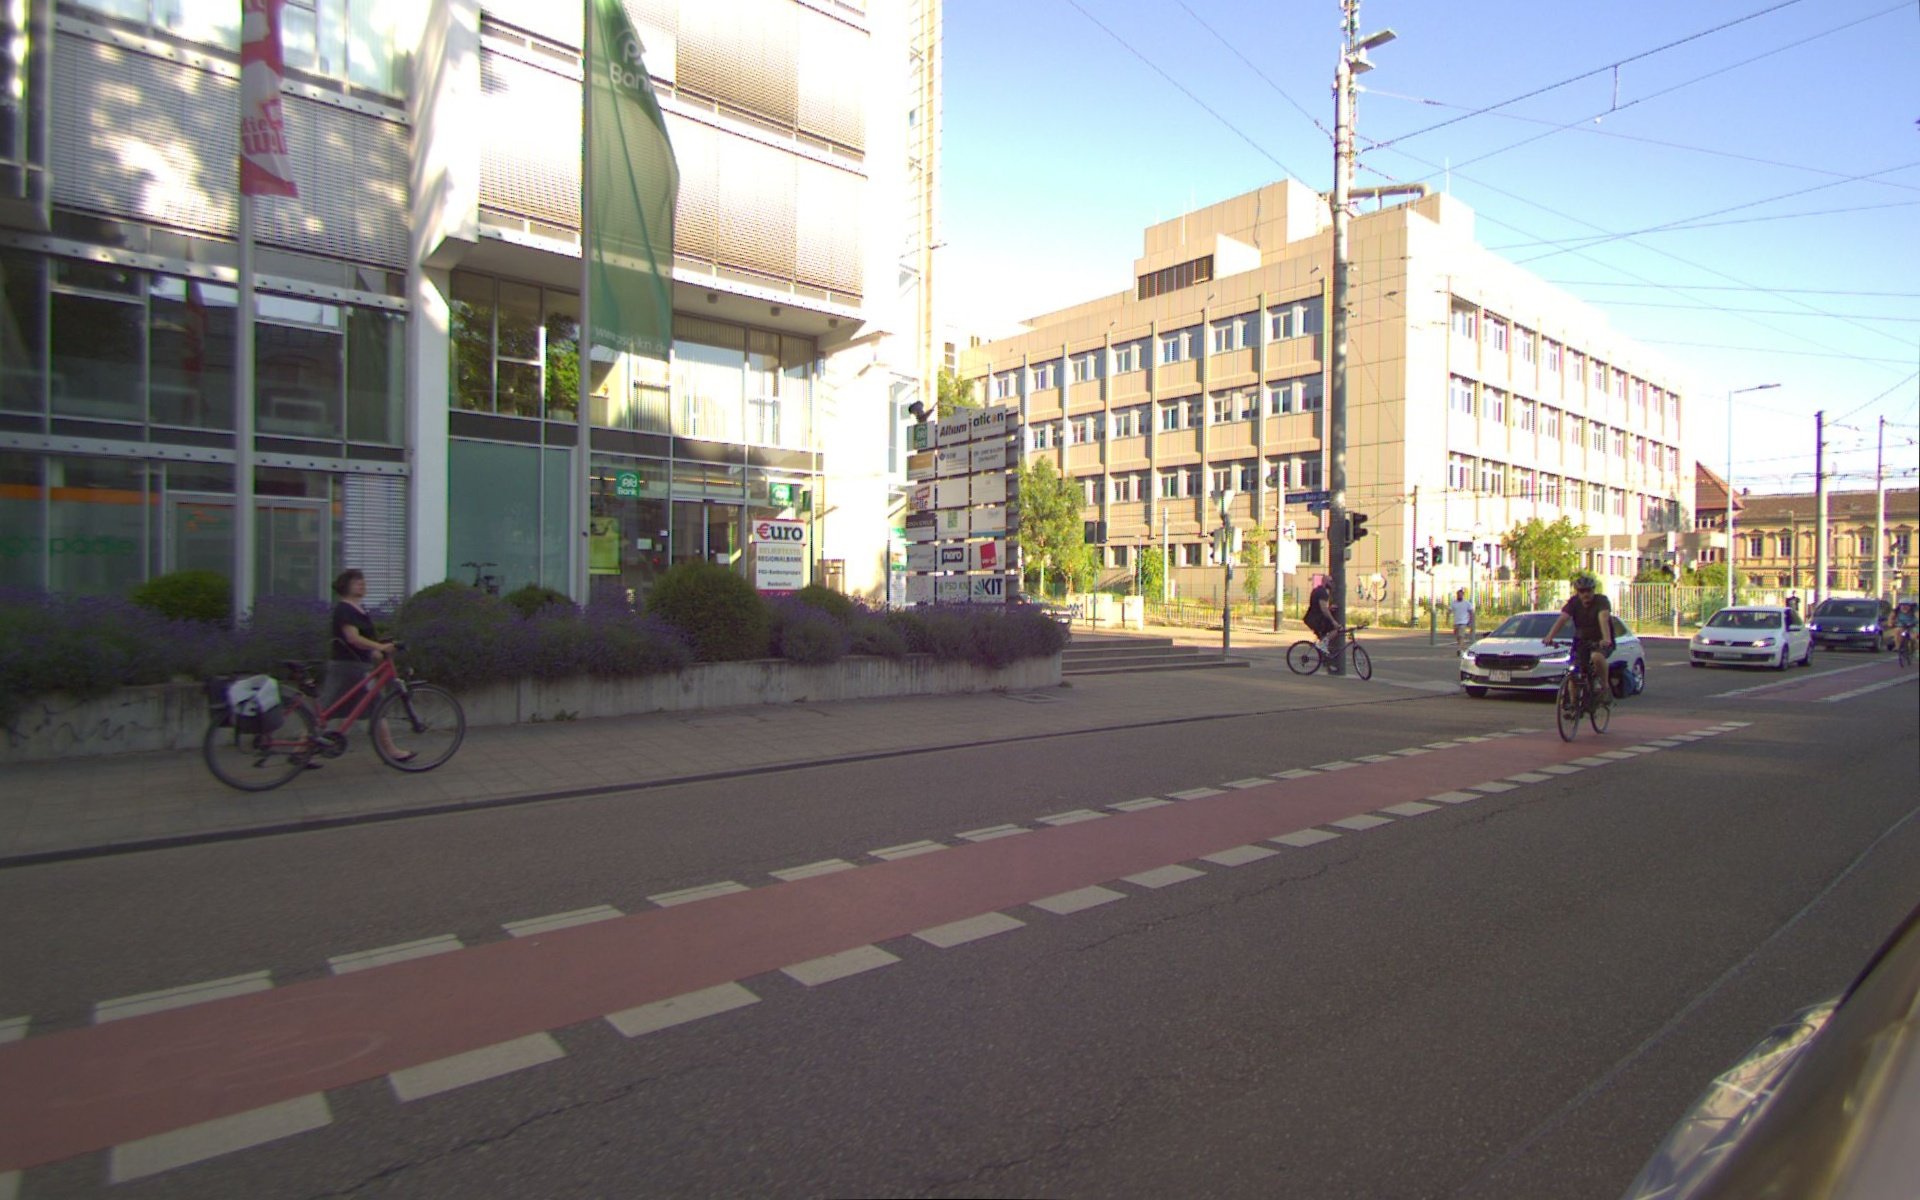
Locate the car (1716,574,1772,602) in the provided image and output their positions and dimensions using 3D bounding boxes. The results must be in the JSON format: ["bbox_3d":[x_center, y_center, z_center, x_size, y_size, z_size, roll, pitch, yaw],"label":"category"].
[{"bbox_3d":[52.913,-0.800,68.281,4.699,1.865,1.998,0,1,-40],"label":"car"}]

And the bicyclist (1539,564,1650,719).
[{"bbox_3d":[7.013,0.427,11.181,1.068,1.623,0.652,0,0,-35],"label":"bicyclist"}]

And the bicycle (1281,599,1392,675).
[{"bbox_3d":[7.076,0.679,19.106,1.839,1.296,0.649,3,1,15],"label":"bicycle"}]

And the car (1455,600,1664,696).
[{"bbox_3d":[9.983,0.703,16.756,4.001,1.407,1.705,0,0,-39],"label":"car"}]

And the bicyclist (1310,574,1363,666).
[{"bbox_3d":[7.084,0.360,19.091,0.851,1.693,0.649,1,0,15],"label":"bicyclist"}]

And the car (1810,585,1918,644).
[{"bbox_3d":[27.604,0.434,30.865,4.224,1.664,1.792,0,-2,-39],"label":"car"}]

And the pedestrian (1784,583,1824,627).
[{"bbox_3d":[35.685,0.199,42.795,1.064,1.835,0.735,0,0,7],"label":"pedestrian"}]

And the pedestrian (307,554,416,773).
[{"bbox_3d":[-4.922,0.488,8.323,0.640,1.701,0.647,0,0,-43],"label":"pedestrian"}]

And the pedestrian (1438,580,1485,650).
[{"bbox_3d":[13.481,0.390,27.215,1.196,1.846,0.778,0,1,-45],"label":"pedestrian"}]

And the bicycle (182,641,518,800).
[{"bbox_3d":[-4.645,0.861,7.848,2.164,0.986,0.521,0,4,-42],"label":"bicycle"}]

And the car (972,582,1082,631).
[{"bbox_3d":[2.500,0.212,38.695,1.952,1.717,3.996,2,0,-40],"label":"car"}]

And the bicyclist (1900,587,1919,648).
[{"bbox_3d":[22.974,0.410,24.110,0.844,1.440,0.727,0,-1,-40],"label":"bicyclist"}]

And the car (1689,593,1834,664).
[{"bbox_3d":[18.955,0.635,23.864,4.224,1.522,1.792,0,-2,-39],"label":"car"}]

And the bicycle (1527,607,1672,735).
[{"bbox_3d":[7.127,0.732,11.250,1.928,1.297,0.652,0,1,-35],"label":"bicycle"}]

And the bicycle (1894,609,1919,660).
[{"bbox_3d":[22.899,0.807,24.035,2.265,1.158,0.764,0,1,-40],"label":"bicycle"}]
